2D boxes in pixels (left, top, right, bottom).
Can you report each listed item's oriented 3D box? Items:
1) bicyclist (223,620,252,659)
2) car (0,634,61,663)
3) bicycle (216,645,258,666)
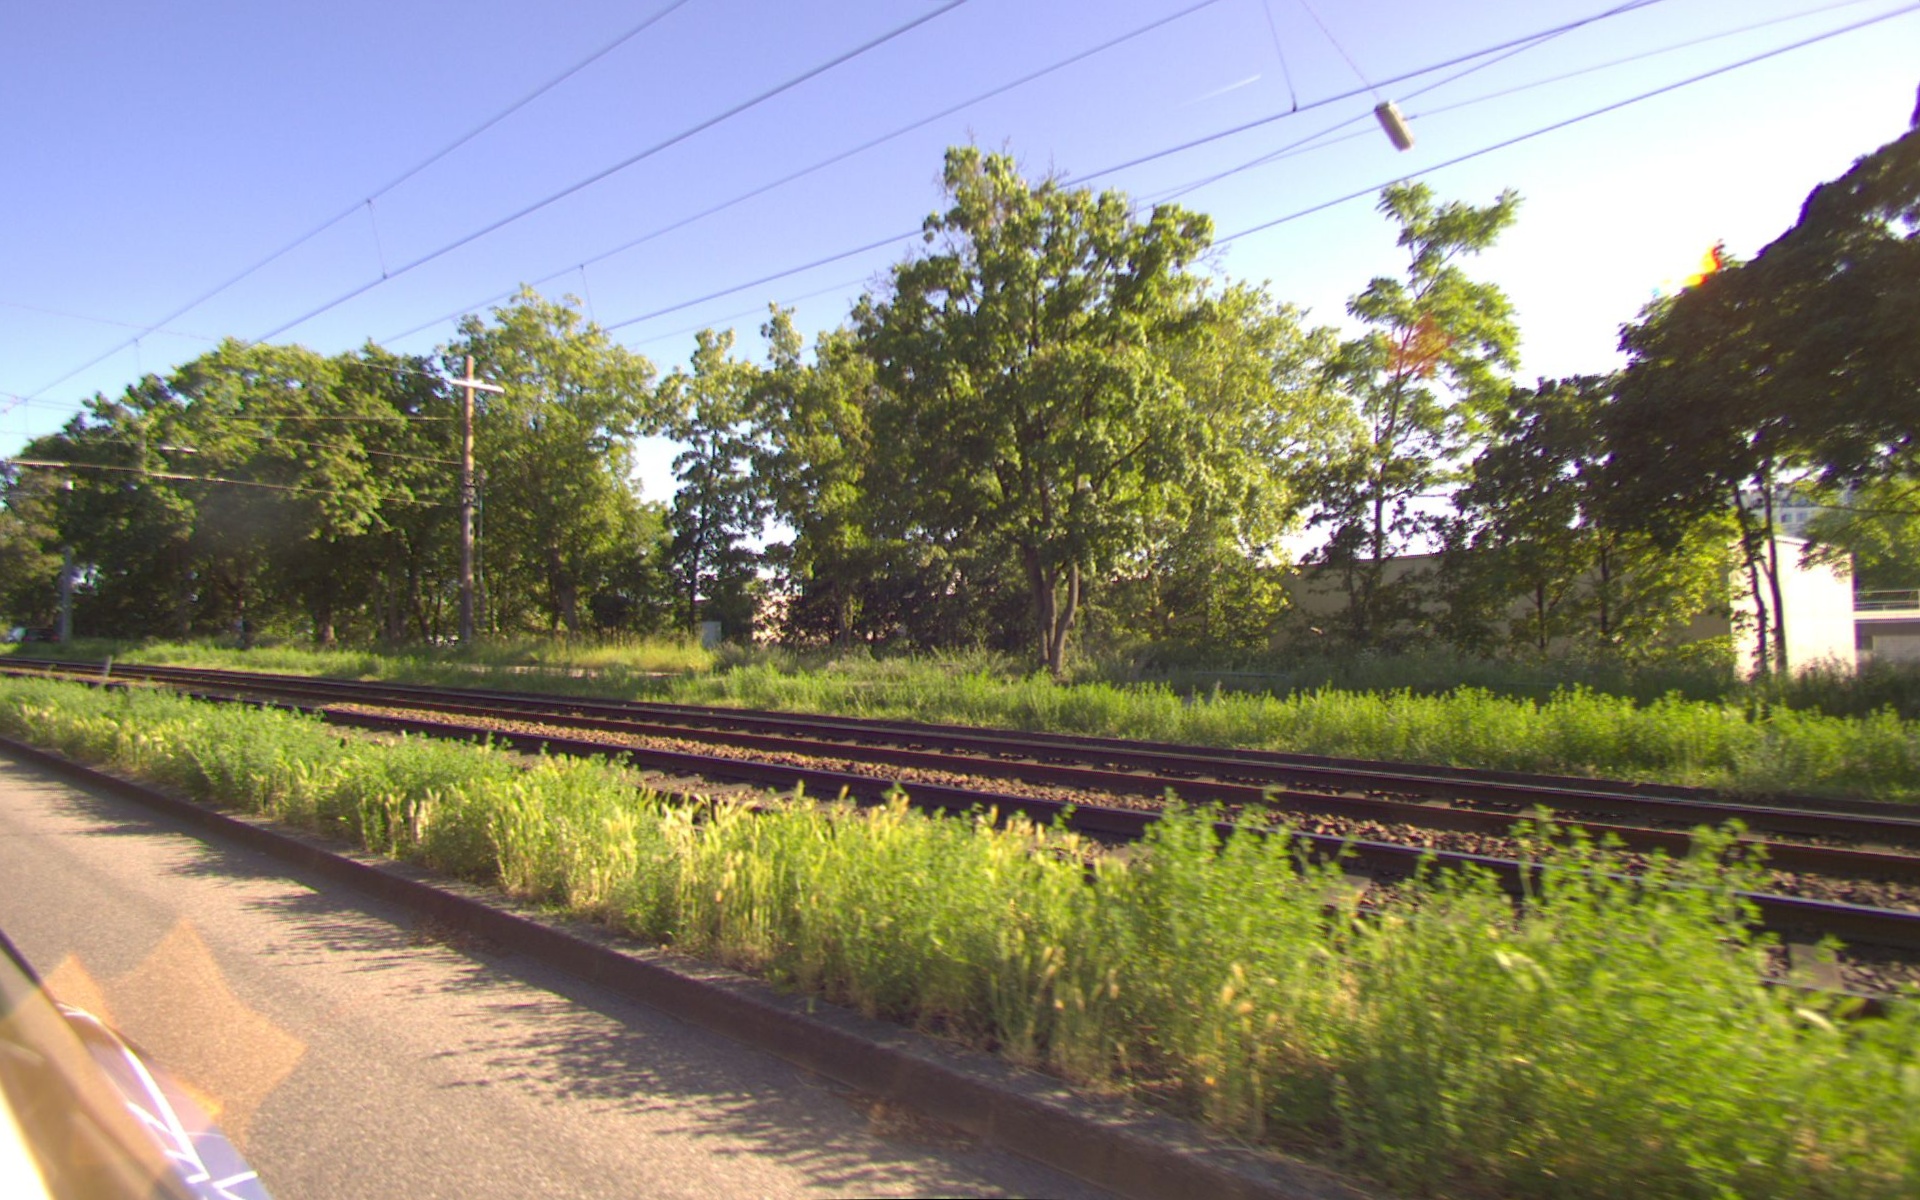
[{"bbox_3d":[-32.355,1.762,45.331,0.901,1.749,0.811,-2,-2,36],"label":"bicyclist"},{"bbox_3d":[-49.801,2.568,54.135,3.990,1.490,1.696,-2,-2,35],"label":"car"},{"bbox_3d":[-32.381,2.479,45.330,2.532,0.921,0.811,-2,-2,37],"label":"bicycle"}]
